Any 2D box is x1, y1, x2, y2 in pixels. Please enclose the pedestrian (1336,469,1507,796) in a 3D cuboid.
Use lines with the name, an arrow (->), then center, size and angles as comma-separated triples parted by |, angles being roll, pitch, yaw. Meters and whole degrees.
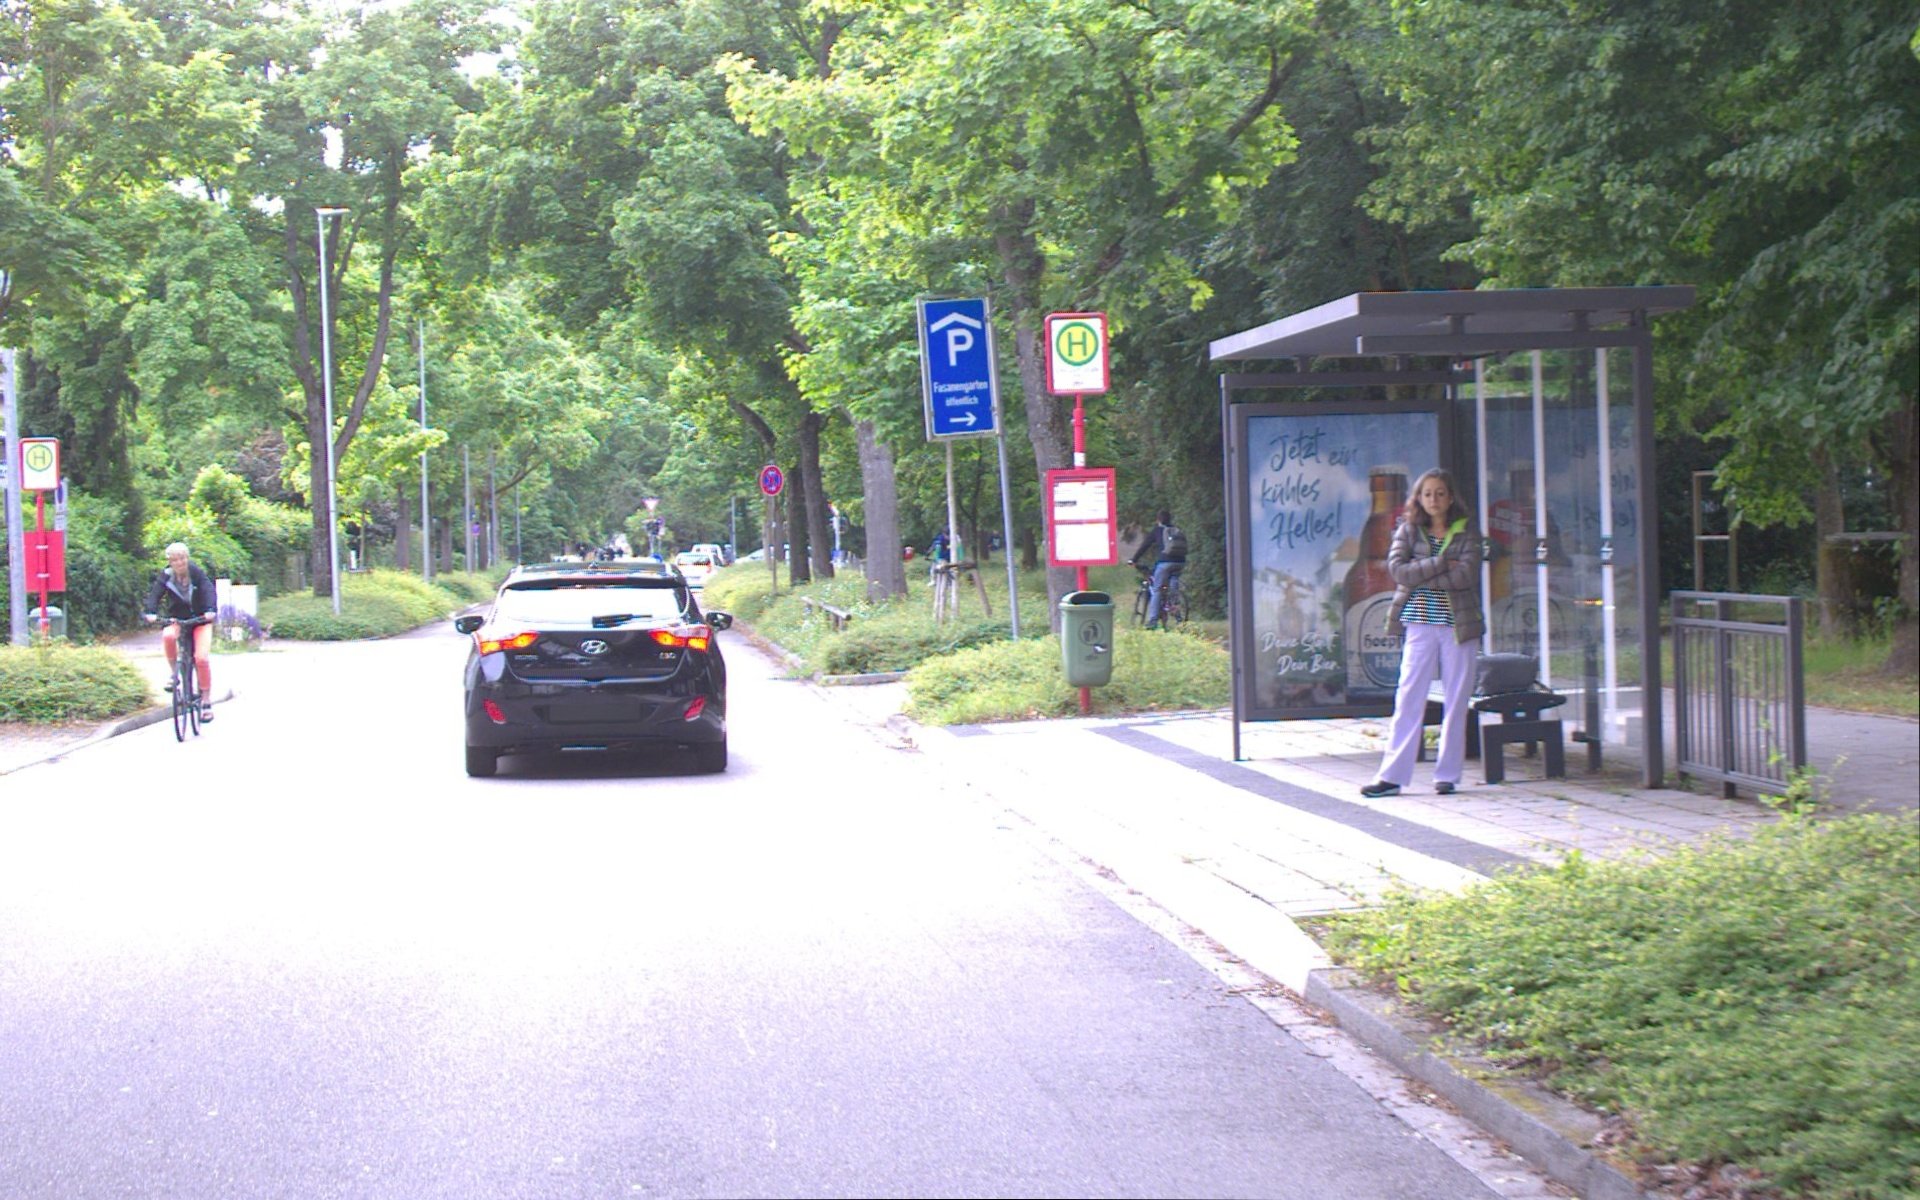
pedestrian -> 2.305, 0.151, 17.233 | 0.653, 1.578, 0.698 | -2, 1, -5

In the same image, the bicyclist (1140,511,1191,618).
bicyclist -> 2.773, -0.489, 46.451 | 0.596, 1.404, 0.758 | -3, 1, 2

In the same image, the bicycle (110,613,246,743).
bicycle -> -6.965, 0.673, 30.733 | 0.794, 1.022, 2.565 | -2, 1, -5

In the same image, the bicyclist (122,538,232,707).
bicyclist -> -7.043, 0.188, 30.952 | 0.784, 1.464, 0.937 | -2, 1, -5

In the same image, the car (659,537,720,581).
car -> -9.616, -1.470, 122.061 | 1.899, 1.481, 4.001 | -2, 1, -7

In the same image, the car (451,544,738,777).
car -> -2.611, 0.366, 24.490 | 1.845, 1.457, 3.828 | -1, 1, -6

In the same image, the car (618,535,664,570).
car -> -14.462, -2.164, 155.663 | 1.993, 1.481, 4.001 | -3, 1, -5

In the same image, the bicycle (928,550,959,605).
bicycle -> -0.301, -0.435, 64.413 | 0.491, 0.971, 1.944 | -3, 1, 1

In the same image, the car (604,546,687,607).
car -> -8.158, -0.631, 88.876 | 1.864, 1.457, 4.118 | -2, 1, -8

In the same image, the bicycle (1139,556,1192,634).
bicycle -> 2.772, -0.078, 46.466 | 0.607, 0.971, 1.944 | -3, 1, 1

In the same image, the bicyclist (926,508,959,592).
bicyclist -> -0.327, -0.933, 64.431 | 0.534, 1.544, 0.758 | -3, 1, 2

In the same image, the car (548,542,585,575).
car -> -18.391, -1.952, 160.600 | 1.561, 1.432, 4.216 | -3, 1, -8

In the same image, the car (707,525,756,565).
car -> -12.131, -2.925, 182.389 | 1.993, 2.007, 4.001 | -3, 1, -12
